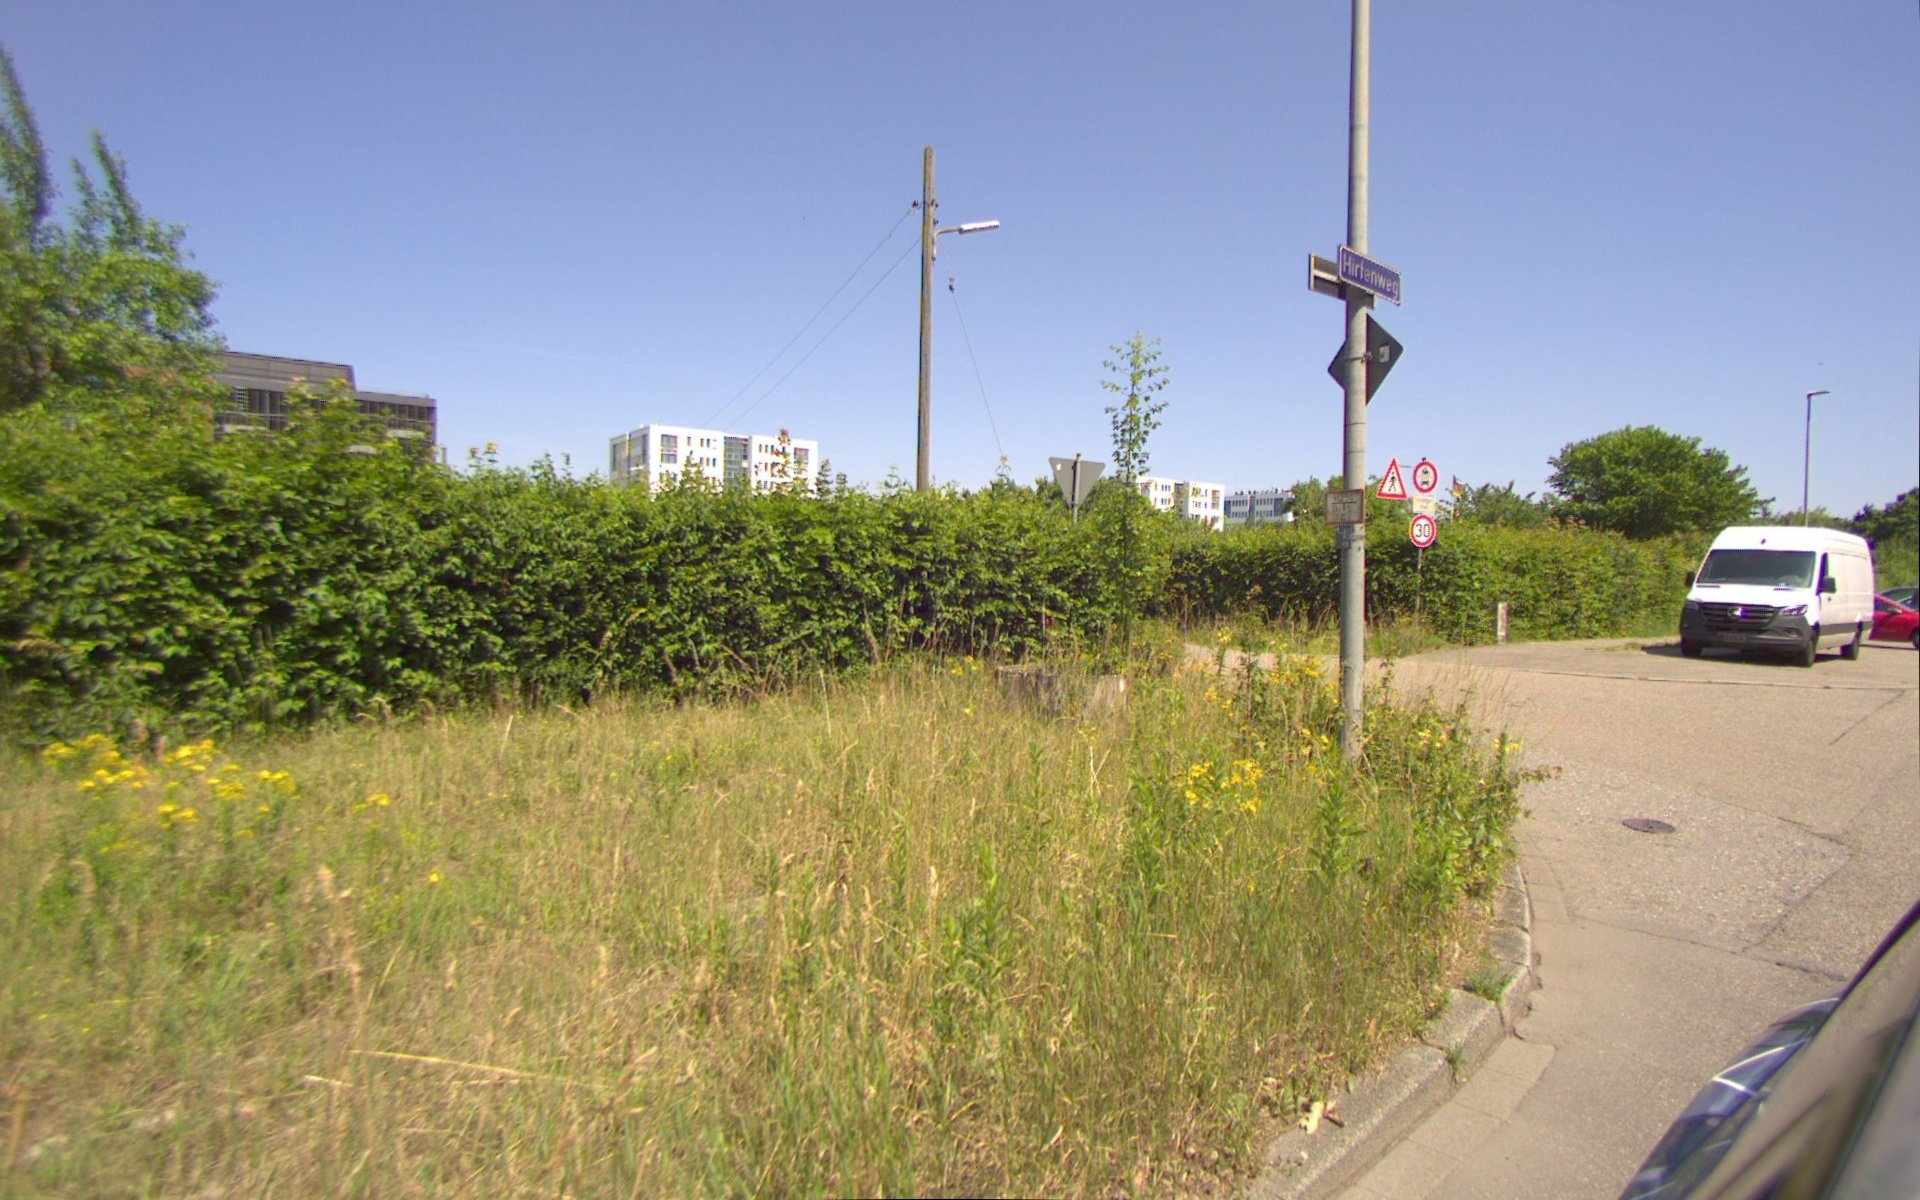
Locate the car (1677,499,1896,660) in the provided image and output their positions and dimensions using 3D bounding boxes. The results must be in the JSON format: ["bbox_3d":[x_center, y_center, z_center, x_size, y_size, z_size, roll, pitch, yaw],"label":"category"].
[{"bbox_3d":[16.815,-0.392,20.391,7.039,2.766,1.959,1,4,-40],"label":"car"}]

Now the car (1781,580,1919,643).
[{"bbox_3d":[24.897,0.331,27.247,1.805,1.451,4.061,0,4,-43],"label":"car"}]

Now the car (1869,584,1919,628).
[{"bbox_3d":[38.771,0.349,39.766,1.735,1.597,4.285,1,4,-42],"label":"car"}]

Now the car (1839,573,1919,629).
[{"bbox_3d":[34.183,0.103,35.764,1.921,1.826,4.459,-1,5,-44],"label":"car"}]
